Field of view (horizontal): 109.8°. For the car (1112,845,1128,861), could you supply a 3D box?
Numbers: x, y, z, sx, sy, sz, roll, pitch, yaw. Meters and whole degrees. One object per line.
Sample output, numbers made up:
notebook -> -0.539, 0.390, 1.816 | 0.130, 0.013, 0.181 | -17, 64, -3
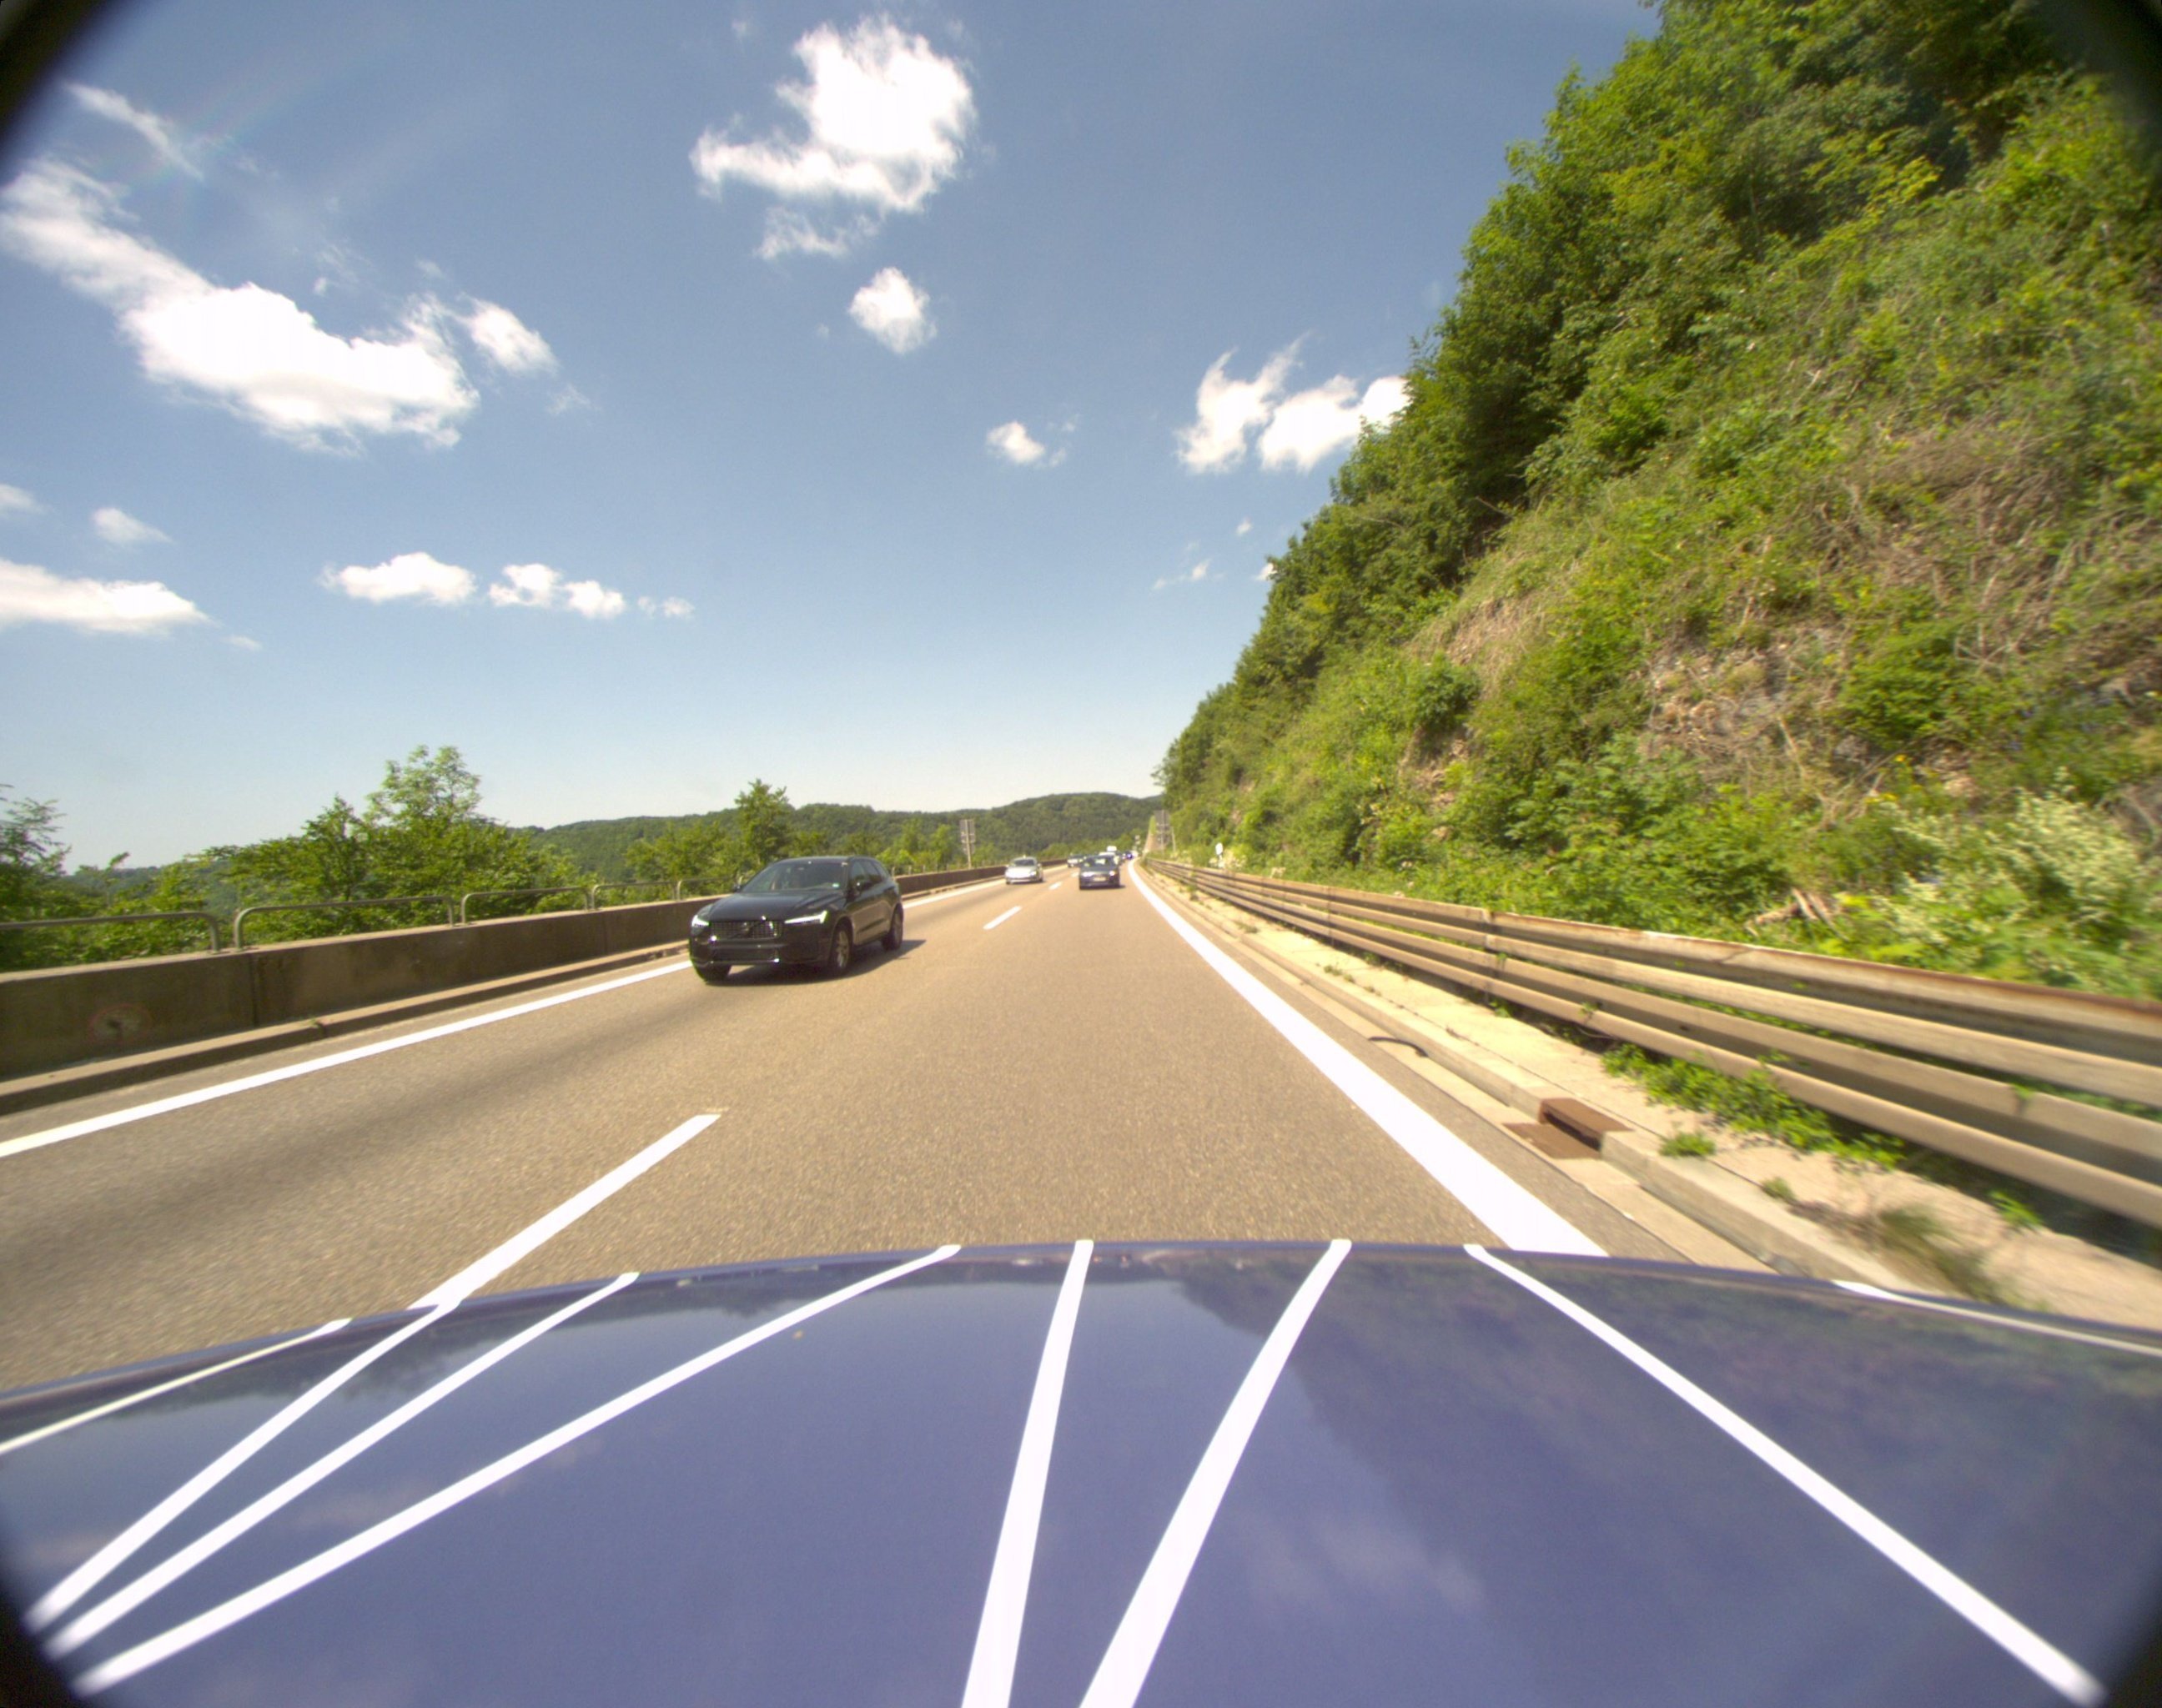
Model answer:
car -> 5.245, -0.101, 101.694 | 1.998, 2.002, 4.001 | -2, 0, 5

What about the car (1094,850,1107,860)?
car -> 3.123, 0.083, 123.618 | 1.775, 1.565, 4.001 | -2, 0, 5

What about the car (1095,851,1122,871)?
car -> 2.243, 0.586, 62.967 | 1.999, 1.543, 3.999 | -2, 0, 0

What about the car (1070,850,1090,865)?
car -> -0.083, 0.384, 86.955 | 1.875, 1.565, 4.001 | -2, 0, 5

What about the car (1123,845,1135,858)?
car -> 8.120, -0.395, 128.328 | 1.998, 2.002, 4.001 | -2, 0, 5

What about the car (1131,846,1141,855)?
car -> 12.836, -0.904, 177.840 | 1.997, 2.002, 4.002 | -2, 0, 9

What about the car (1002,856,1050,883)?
car -> -3.034, 0.829, 42.577 | 1.972, 1.370, 4.295 | 1, 1, 6

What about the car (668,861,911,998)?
car -> -4.058, 0.932, 11.549 | 1.839, 1.624, 4.662 | -1, 0, 0

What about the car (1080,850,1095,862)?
car -> 0.908, 0.224, 106.241 | 1.775, 1.565, 4.001 | -2, 0, 5

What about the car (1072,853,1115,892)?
car -> 0.601, 0.735, 32.448 | 1.669, 1.415, 4.044 | -1, 1, 3
